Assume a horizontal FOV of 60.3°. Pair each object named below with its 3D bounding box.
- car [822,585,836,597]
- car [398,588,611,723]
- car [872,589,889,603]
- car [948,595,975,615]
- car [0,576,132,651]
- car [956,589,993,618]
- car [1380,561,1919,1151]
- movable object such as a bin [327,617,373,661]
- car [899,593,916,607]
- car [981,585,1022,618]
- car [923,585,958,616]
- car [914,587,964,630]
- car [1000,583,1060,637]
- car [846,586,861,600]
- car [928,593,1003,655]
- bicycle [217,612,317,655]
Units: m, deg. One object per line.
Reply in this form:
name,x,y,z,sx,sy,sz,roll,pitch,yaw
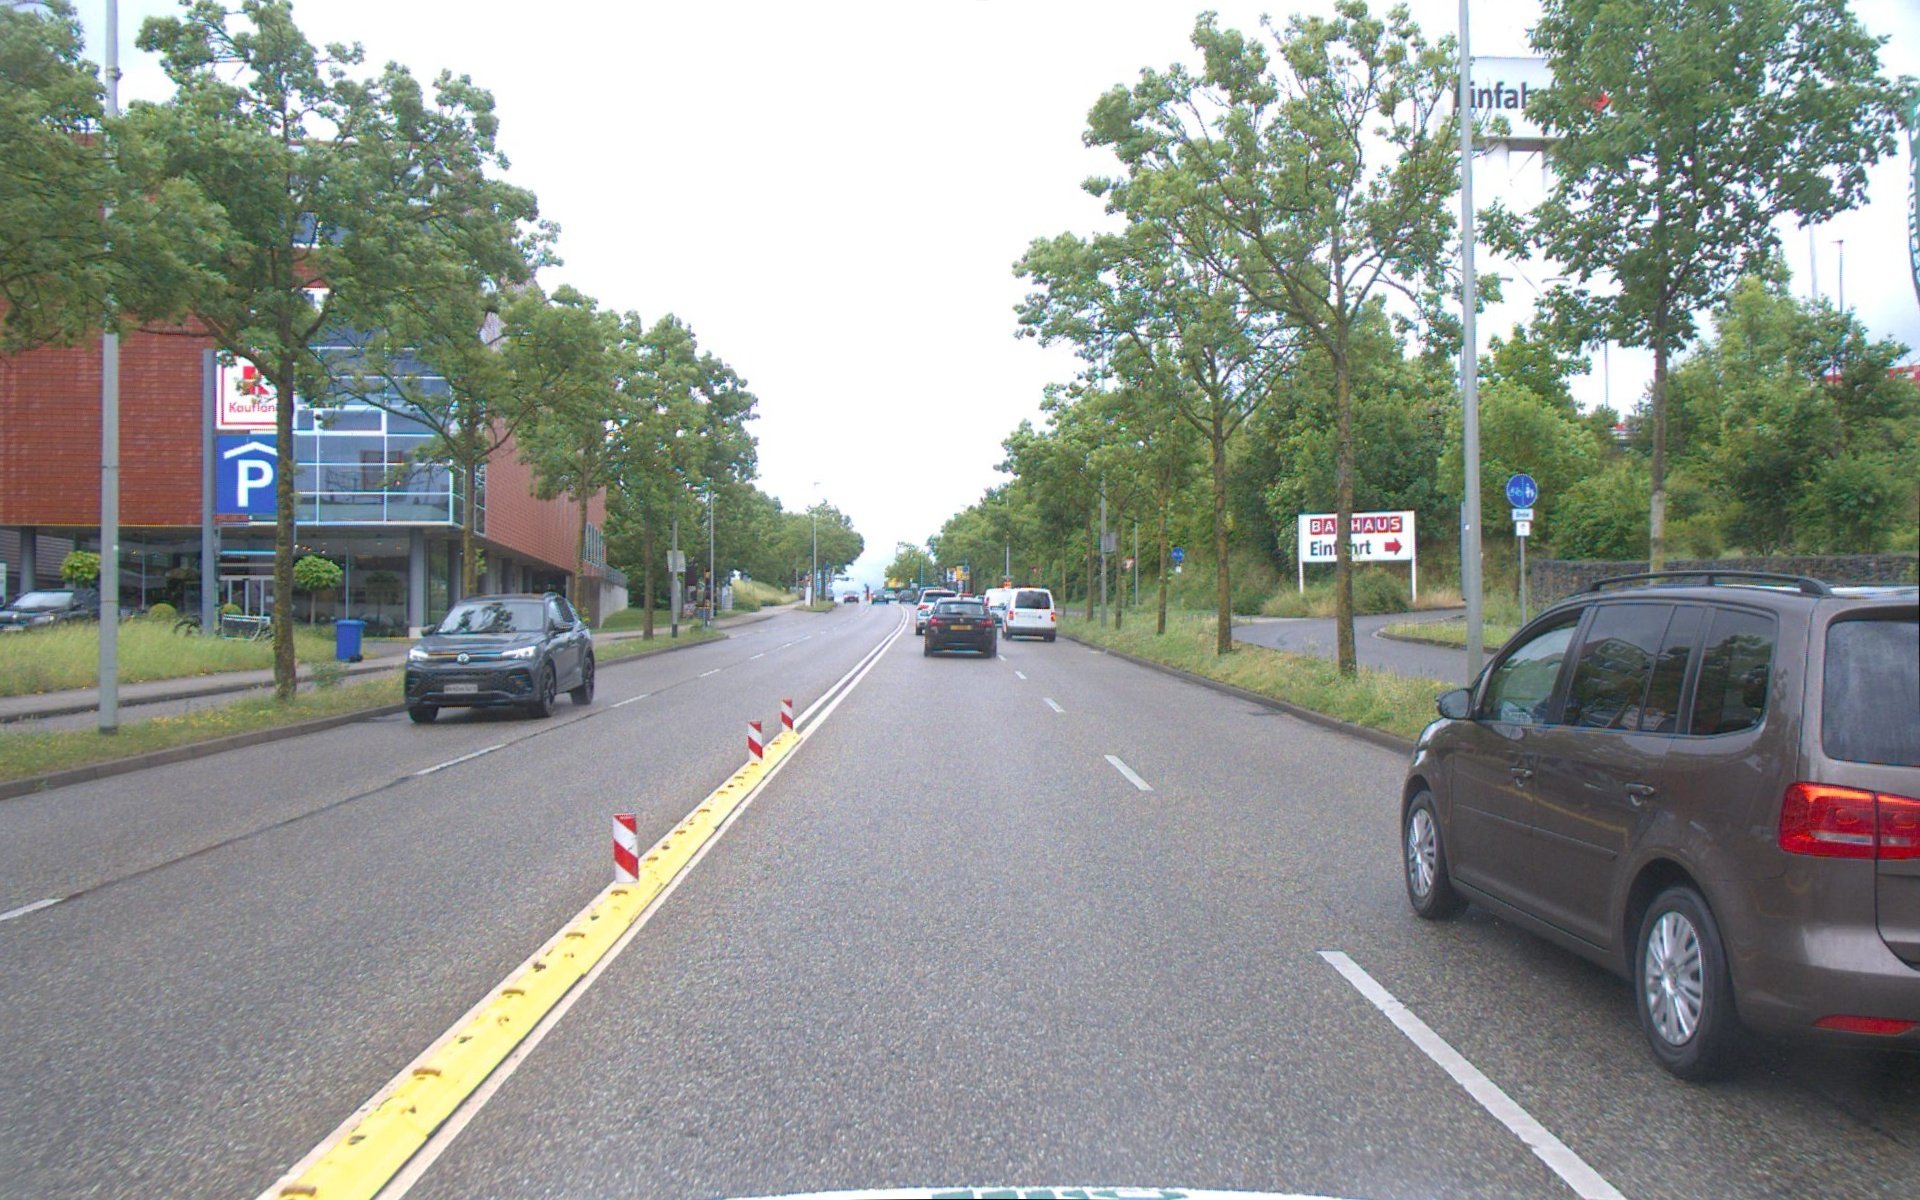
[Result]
car,-16.949,-1.155,214.018,1.759,1.537,3.996,2,-1,-4
car,-6.260,0.712,23.268,1.751,1.642,4.435,-2,0,-1
car,-8.959,-0.423,185.708,1.759,1.537,3.996,2,-1,-4
car,0.103,0.413,131.360,1.759,1.537,3.996,2,-1,-4
car,-24.145,0.303,44.025,2.095,1.804,4.605,1,1,-4
car,0.811,0.213,94.194,1.759,1.537,3.996,2,-1,-4
car,3.131,0.708,6.663,1.651,1.609,4.216,1,0,-2
movable object such as a bin,-16.042,1.026,43.504,0.802,1.098,1.085,2,0,-1
car,-5.948,0.003,187.327,1.758,1.537,3.998,2,-1,-3
car,2.006,0.076,81.160,1.758,1.537,3.998,2,-1,-2
car,-1.020,0.042,85.030,1.758,1.537,3.999,2,-1,-1
car,-0.817,0.330,62.771,1.758,1.537,3.998,2,-1,-2
car,2.419,0.322,58.031,1.790,1.790,3.999,2,0,-2
car,-12.838,-0.843,199.675,1.759,1.537,3.996,2,-1,-4
car,0.120,0.577,42.326,1.790,1.494,4.000,-1,0,-1
bicycle,-17.785,0.853,42.505,2.034,0.951,1.094,4,-1,2
